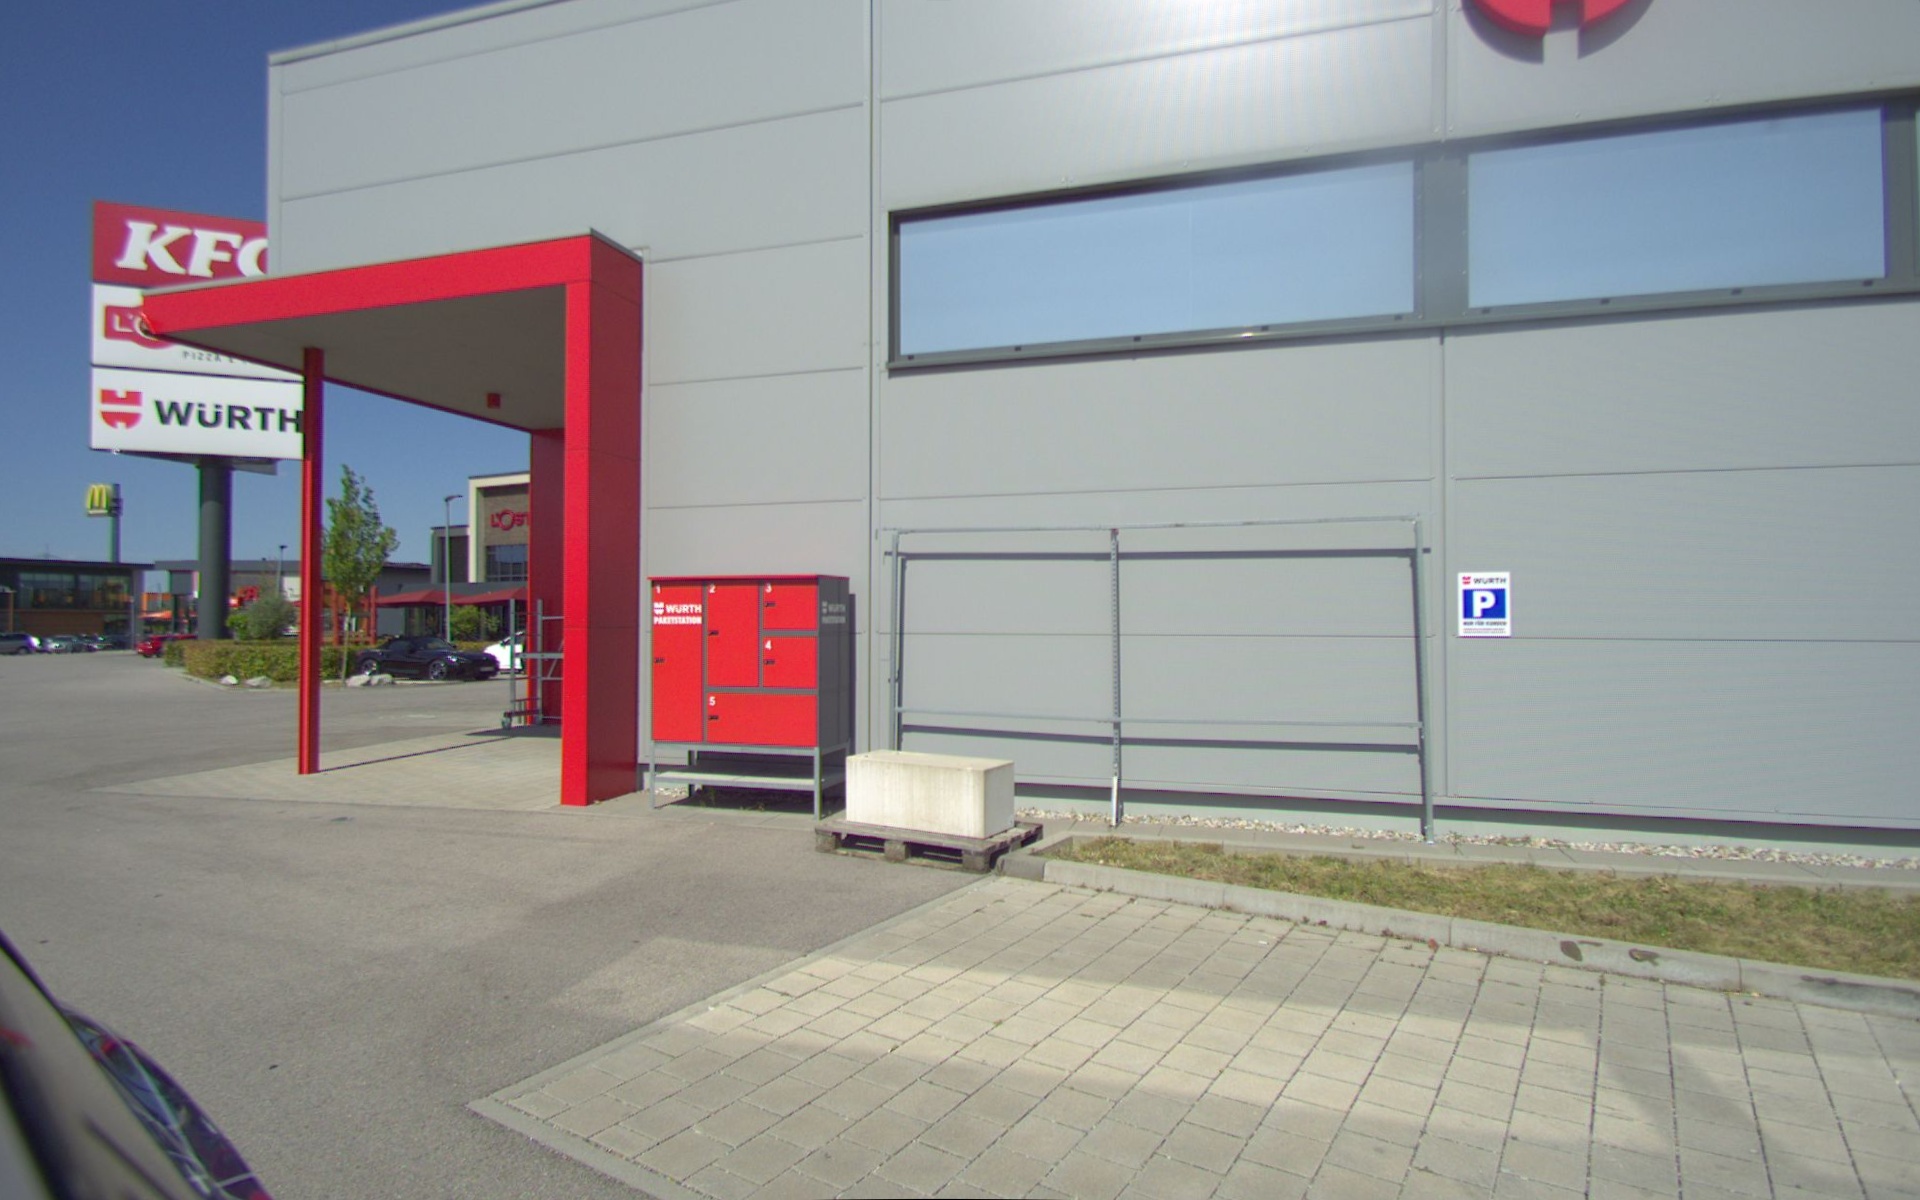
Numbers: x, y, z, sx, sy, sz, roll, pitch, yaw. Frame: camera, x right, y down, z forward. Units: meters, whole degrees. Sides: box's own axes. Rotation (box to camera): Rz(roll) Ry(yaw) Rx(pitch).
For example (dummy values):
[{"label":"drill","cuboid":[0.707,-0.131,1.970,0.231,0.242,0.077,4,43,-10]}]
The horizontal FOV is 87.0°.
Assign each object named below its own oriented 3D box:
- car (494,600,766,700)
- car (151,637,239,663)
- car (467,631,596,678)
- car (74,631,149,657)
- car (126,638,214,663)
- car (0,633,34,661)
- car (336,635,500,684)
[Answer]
[{"label":"car","cuboid":[-6.979,1.059,21.487,5.334,1.953,2.020,-1,-2,17]},{"label":"car","cuboid":[-48.656,3.139,64.426,1.869,1.577,4.058,-2,-2,27]},{"label":"car","cuboid":[-14.411,1.821,34.070,3.886,1.486,1.790,-1,-2,21]},{"label":"car","cuboid":[-71.049,3.691,84.810,1.990,2.029,4.443,-2,-1,27]},{"label":"car","cuboid":[-51.119,3.246,65.566,1.869,1.577,4.058,-2,-2,27]},{"label":"car","cuboid":[-72.796,3.546,75.964,1.990,2.029,4.443,-2,-1,27]},{"label":"car","cuboid":[-15.739,1.726,29.420,4.117,1.348,1.821,-1,-2,16]}]
